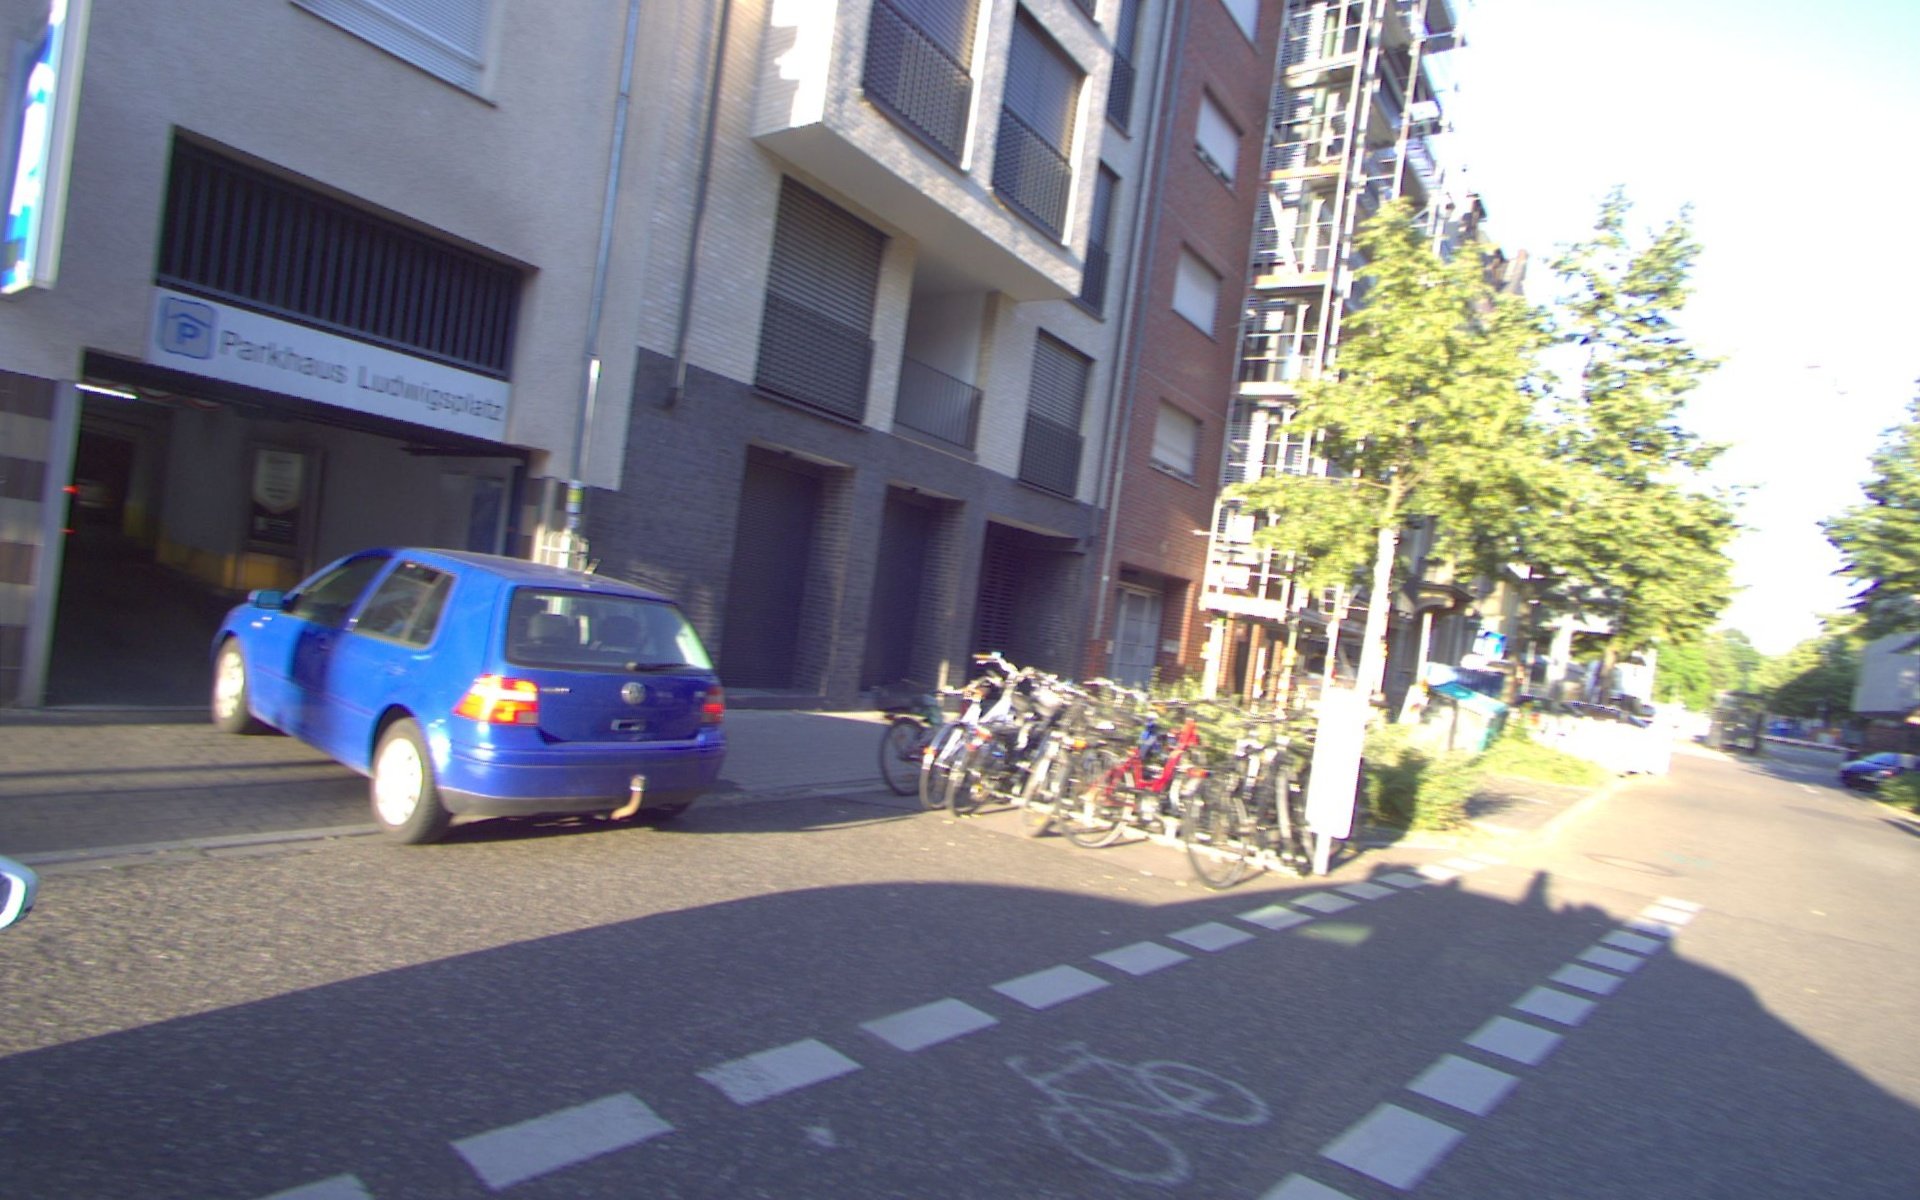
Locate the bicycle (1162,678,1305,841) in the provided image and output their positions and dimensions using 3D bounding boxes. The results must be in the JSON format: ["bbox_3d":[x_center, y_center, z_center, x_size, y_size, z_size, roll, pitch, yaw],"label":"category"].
[{"bbox_3d":[2.321,1.300,8.413,0.481,1.177,1.547,9,0,37],"label":"bicycle"}]

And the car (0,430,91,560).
[{"bbox_3d":[-14.306,-1.689,14.794,3.823,1.638,1.555,9,1,39],"label":"car"}]

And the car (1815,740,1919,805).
[{"bbox_3d":[31.542,5.937,34.383,3.647,1.587,1.849,9,1,-20],"label":"car"}]

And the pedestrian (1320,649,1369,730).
[{"bbox_3d":[9.125,2.122,23.870,0.732,1.805,0.654,8,1,35],"label":"pedestrian"}]

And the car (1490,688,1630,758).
[{"bbox_3d":[21.570,4.393,36.220,3.941,1.704,1.884,9,1,40],"label":"car"}]

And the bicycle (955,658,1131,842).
[{"bbox_3d":[0.651,1.074,7.389,0.376,1.174,1.547,9,0,37],"label":"bicycle"}]

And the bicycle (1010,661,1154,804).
[{"bbox_3d":[1.159,1.202,9.275,0.461,1.158,1.547,9,0,37],"label":"bicycle"}]

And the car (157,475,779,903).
[{"bbox_3d":[-3.227,0.317,6.236,4.055,1.582,1.688,11,2,37],"label":"car"}]

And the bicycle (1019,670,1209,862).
[{"bbox_3d":[1.129,1.142,7.102,0.412,1.171,1.545,9,1,42],"label":"bicycle"}]

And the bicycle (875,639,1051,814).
[{"bbox_3d":[0.068,0.972,7.858,0.381,1.203,1.547,9,0,37],"label":"bicycle"}]

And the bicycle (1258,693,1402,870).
[{"bbox_3d":[2.956,1.379,7.937,0.501,1.193,1.547,9,0,37],"label":"bicycle"}]

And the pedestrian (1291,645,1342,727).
[{"bbox_3d":[8.337,2.010,23.525,0.732,1.805,0.654,8,1,37],"label":"pedestrian"}]

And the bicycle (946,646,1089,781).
[{"bbox_3d":[0.589,1.081,9.653,0.451,1.145,1.547,9,0,37],"label":"bicycle"}]

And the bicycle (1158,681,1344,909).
[{"bbox_3d":[1.927,1.196,6.509,0.491,1.235,1.547,9,0,37],"label":"bicycle"}]

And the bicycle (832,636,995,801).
[{"bbox_3d":[-0.344,0.955,8.202,0.382,1.198,1.401,9,1,37],"label":"bicycle"}]

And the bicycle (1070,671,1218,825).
[{"bbox_3d":[1.636,1.263,8.765,0.481,1.163,1.547,9,0,37],"label":"bicycle"}]

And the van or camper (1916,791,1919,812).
[{"bbox_3d":[25.642,4.571,23.435,4.383,2.030,1.853,10,1,35],"label":"van or camper"}]

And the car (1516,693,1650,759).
[{"bbox_3d":[23.542,4.723,38.051,3.941,1.704,1.884,9,1,40],"label":"car"}]
